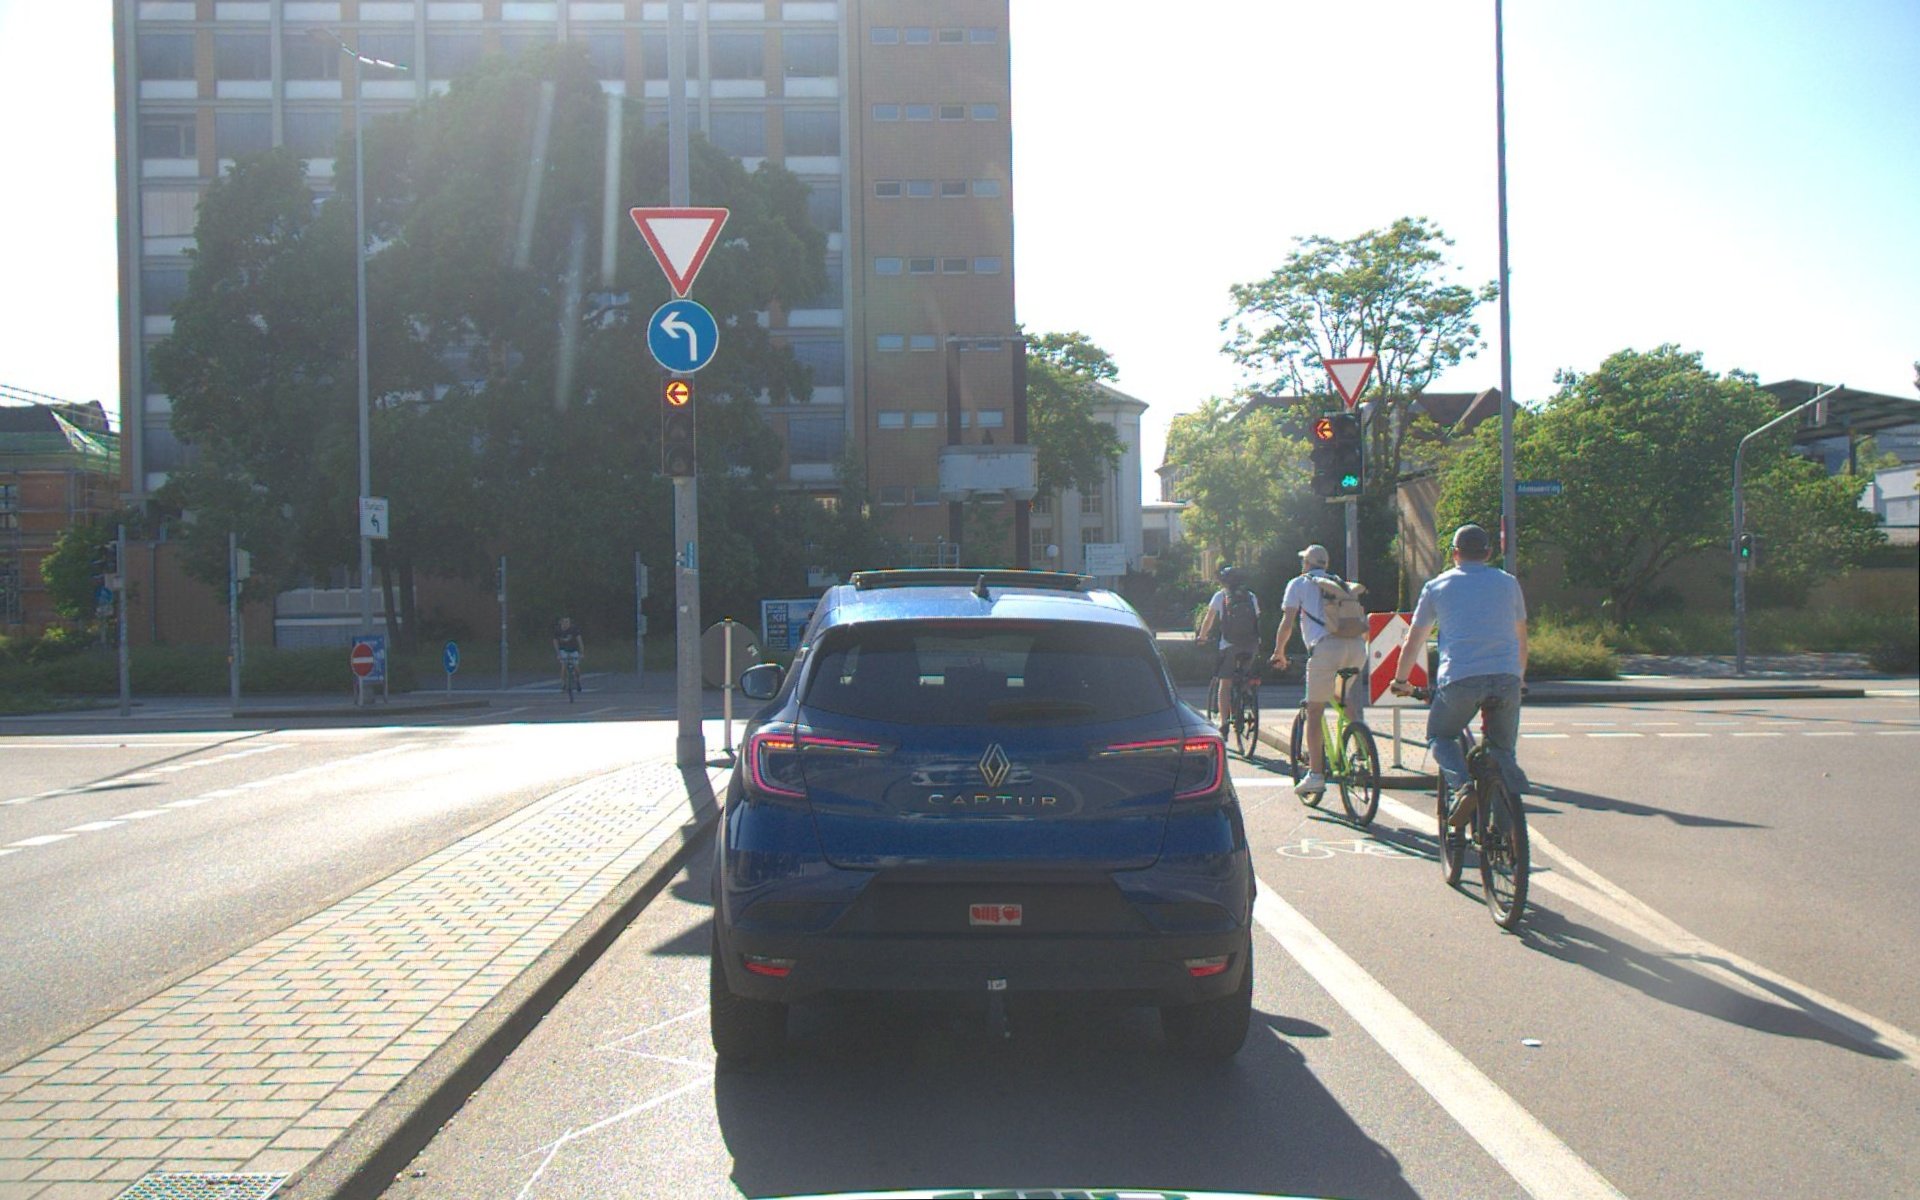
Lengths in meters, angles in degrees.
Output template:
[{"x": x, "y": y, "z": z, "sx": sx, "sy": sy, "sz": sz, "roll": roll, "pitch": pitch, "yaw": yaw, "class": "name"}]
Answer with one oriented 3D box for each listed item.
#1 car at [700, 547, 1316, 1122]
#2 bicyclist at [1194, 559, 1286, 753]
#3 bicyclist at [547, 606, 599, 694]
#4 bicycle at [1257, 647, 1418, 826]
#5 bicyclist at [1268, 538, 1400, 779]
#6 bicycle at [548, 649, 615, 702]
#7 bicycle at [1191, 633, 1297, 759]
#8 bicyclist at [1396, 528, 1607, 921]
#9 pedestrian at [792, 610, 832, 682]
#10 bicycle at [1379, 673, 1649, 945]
[{"x": 0.057, "y": 0.663, "z": 6.649, "sx": 1.753, "sy": 1.613, "sz": 3.912, "roll": 0, "pitch": 0, "yaw": -3, "class": "car"}, {"x": 2.715, "y": 0.531, "z": 16.123, "sx": 0.685, "sy": 1.822, "sz": 1.142, "roll": 0, "pitch": 0, "yaw": -1, "class": "bicyclist"}, {"x": -7.917, "y": 1.009, "z": 33.874, "sx": 0.739, "sy": 1.746, "sz": 0.999, "roll": -1, "pitch": 0, "yaw": 5, "class": "bicyclist"}, {"x": 2.625, "y": 0.911, "z": 11.692, "sx": 0.675, "sy": 1.108, "sz": 1.922, "roll": 0, "pitch": 0, "yaw": -1, "class": "bicycle"}, {"x": 2.631, "y": 0.394, "z": 11.734, "sx": 0.664, "sy": 1.622, "sz": 1.142, "roll": 0, "pitch": 0, "yaw": -1, "class": "bicyclist"}, {"x": -7.856, "y": 1.559, "z": 34.410, "sx": 0.739, "sy": 1.002, "sz": 2.095, "roll": -1, "pitch": 0, "yaw": 5, "class": "bicycle"}, {"x": 2.724, "y": 0.893, "z": 16.044, "sx": 0.675, "sy": 1.108, "sz": 1.922, "roll": 0, "pitch": 0, "yaw": -1, "class": "bicycle"}, {"x": 2.668, "y": 0.580, "z": 8.263, "sx": 0.669, "sy": 1.822, "sz": 1.142, "roll": 0, "pitch": 0, "yaw": -1, "class": "bicyclist"}, {"x": -4.005, "y": 1.243, "z": 44.845, "sx": 0.796, "sy": 1.895, "sz": 0.910, "roll": -1, "pitch": 0, "yaw": 13, "class": "pedestrian"}, {"x": 2.674, "y": 0.958, "z": 8.213, "sx": 0.675, "sy": 1.108, "sz": 1.922, "roll": 0, "pitch": 0, "yaw": -1, "class": "bicycle"}]
